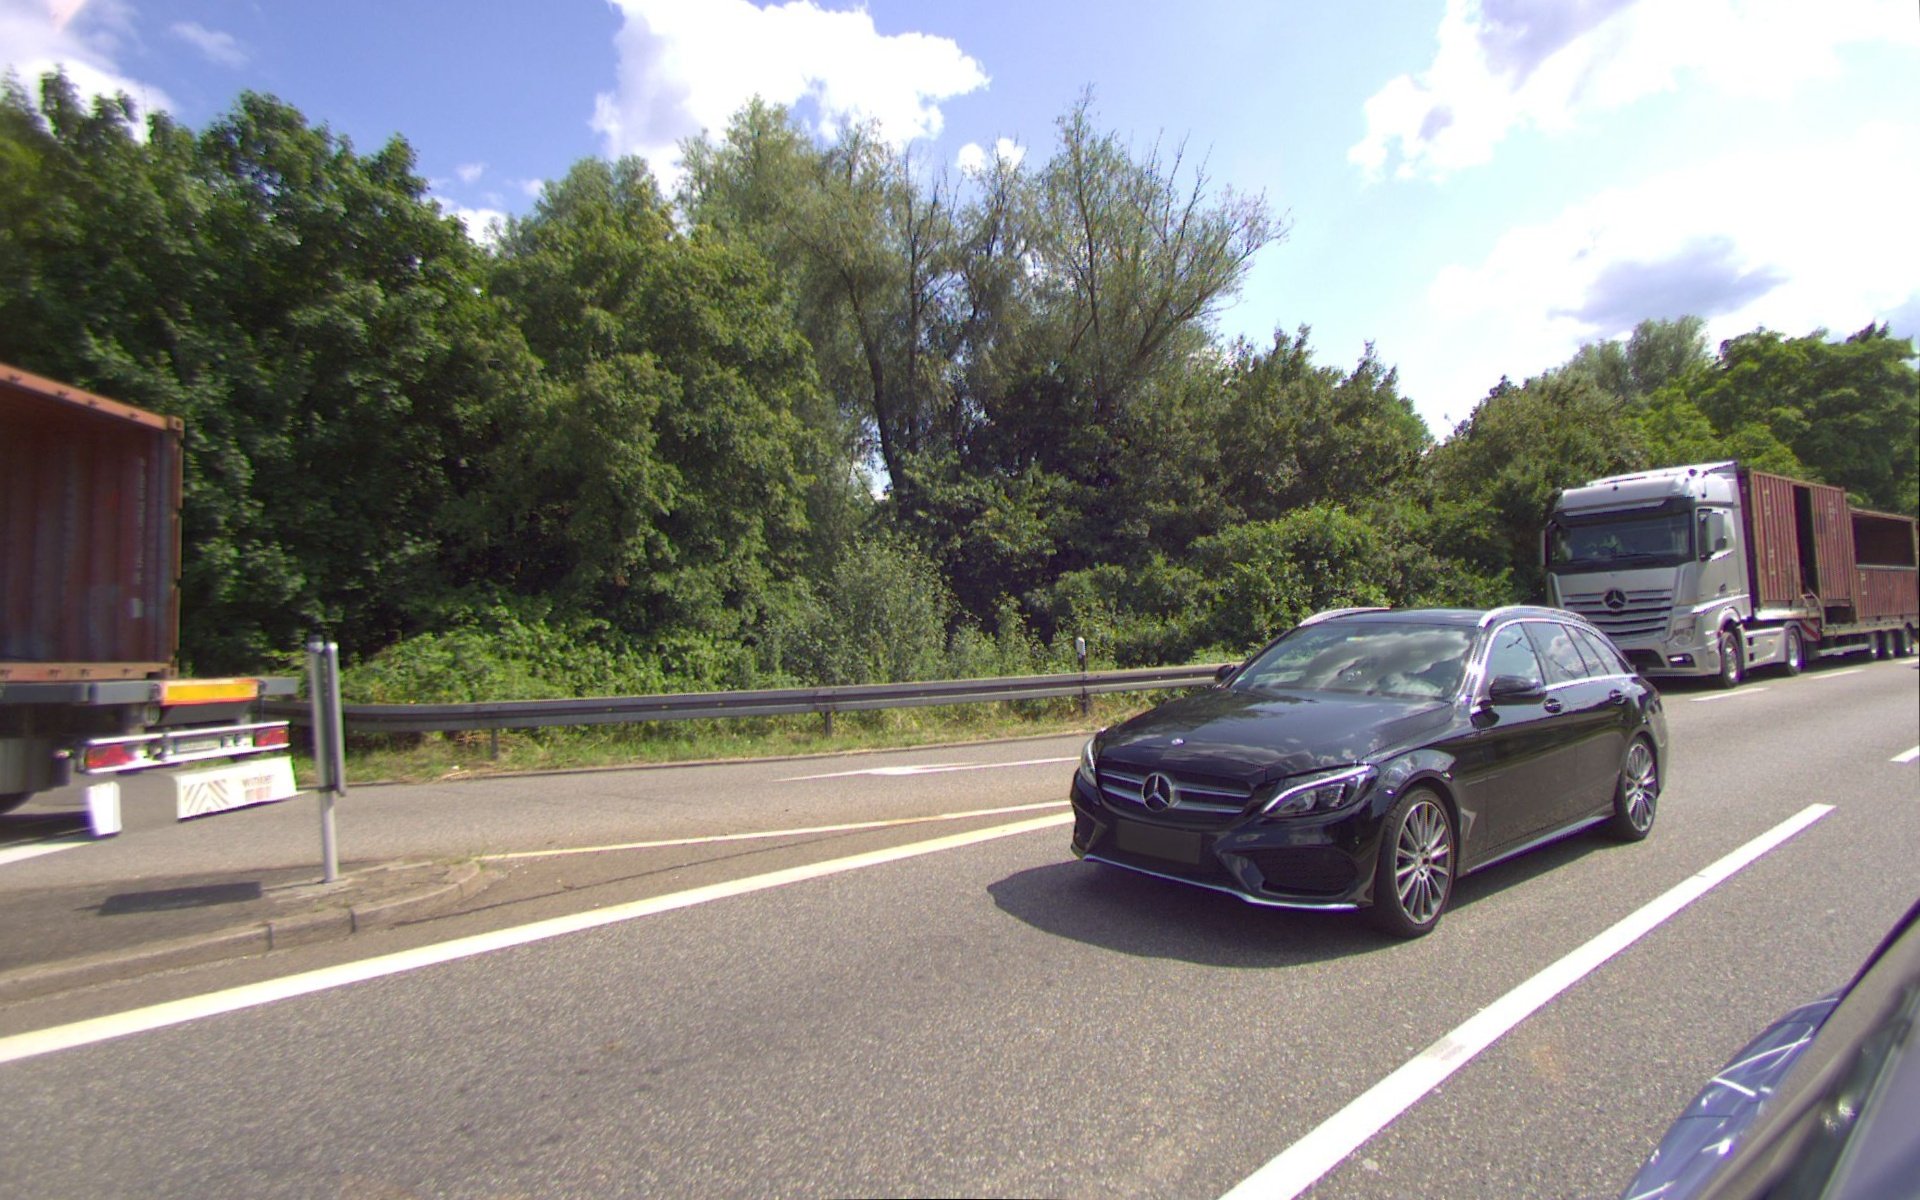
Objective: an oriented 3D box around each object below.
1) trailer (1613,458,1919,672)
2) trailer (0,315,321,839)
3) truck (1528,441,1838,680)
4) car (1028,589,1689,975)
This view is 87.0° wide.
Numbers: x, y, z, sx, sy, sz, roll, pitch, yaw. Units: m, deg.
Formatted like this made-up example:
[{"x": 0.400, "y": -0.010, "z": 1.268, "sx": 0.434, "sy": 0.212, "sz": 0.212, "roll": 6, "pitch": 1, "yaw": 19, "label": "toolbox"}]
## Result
[{"x": 19.098, "y": -0.629, "z": 23.127, "sx": 12.091, "sy": 3.900, "sz": 2.778, "roll": 0, "pitch": -2, "yaw": -37, "label": "trailer"}, {"x": -13.273, "y": 0.187, "z": 8.813, "sx": 13.580, "sy": 3.942, "sz": 2.647, "roll": -3, "pitch": -3, "yaw": -2, "label": "trailer"}, {"x": 14.086, "y": -0.591, "z": 19.540, "sx": 6.693, "sy": 3.895, "sz": 2.776, "roll": 0, "pitch": -3, "yaw": -37, "label": "truck"}, {"x": 2.568, "y": 0.701, "z": 5.940, "sx": 4.293, "sy": 1.454, "sz": 1.793, "roll": -1, "pitch": -2, "yaw": -41, "label": "car"}]
